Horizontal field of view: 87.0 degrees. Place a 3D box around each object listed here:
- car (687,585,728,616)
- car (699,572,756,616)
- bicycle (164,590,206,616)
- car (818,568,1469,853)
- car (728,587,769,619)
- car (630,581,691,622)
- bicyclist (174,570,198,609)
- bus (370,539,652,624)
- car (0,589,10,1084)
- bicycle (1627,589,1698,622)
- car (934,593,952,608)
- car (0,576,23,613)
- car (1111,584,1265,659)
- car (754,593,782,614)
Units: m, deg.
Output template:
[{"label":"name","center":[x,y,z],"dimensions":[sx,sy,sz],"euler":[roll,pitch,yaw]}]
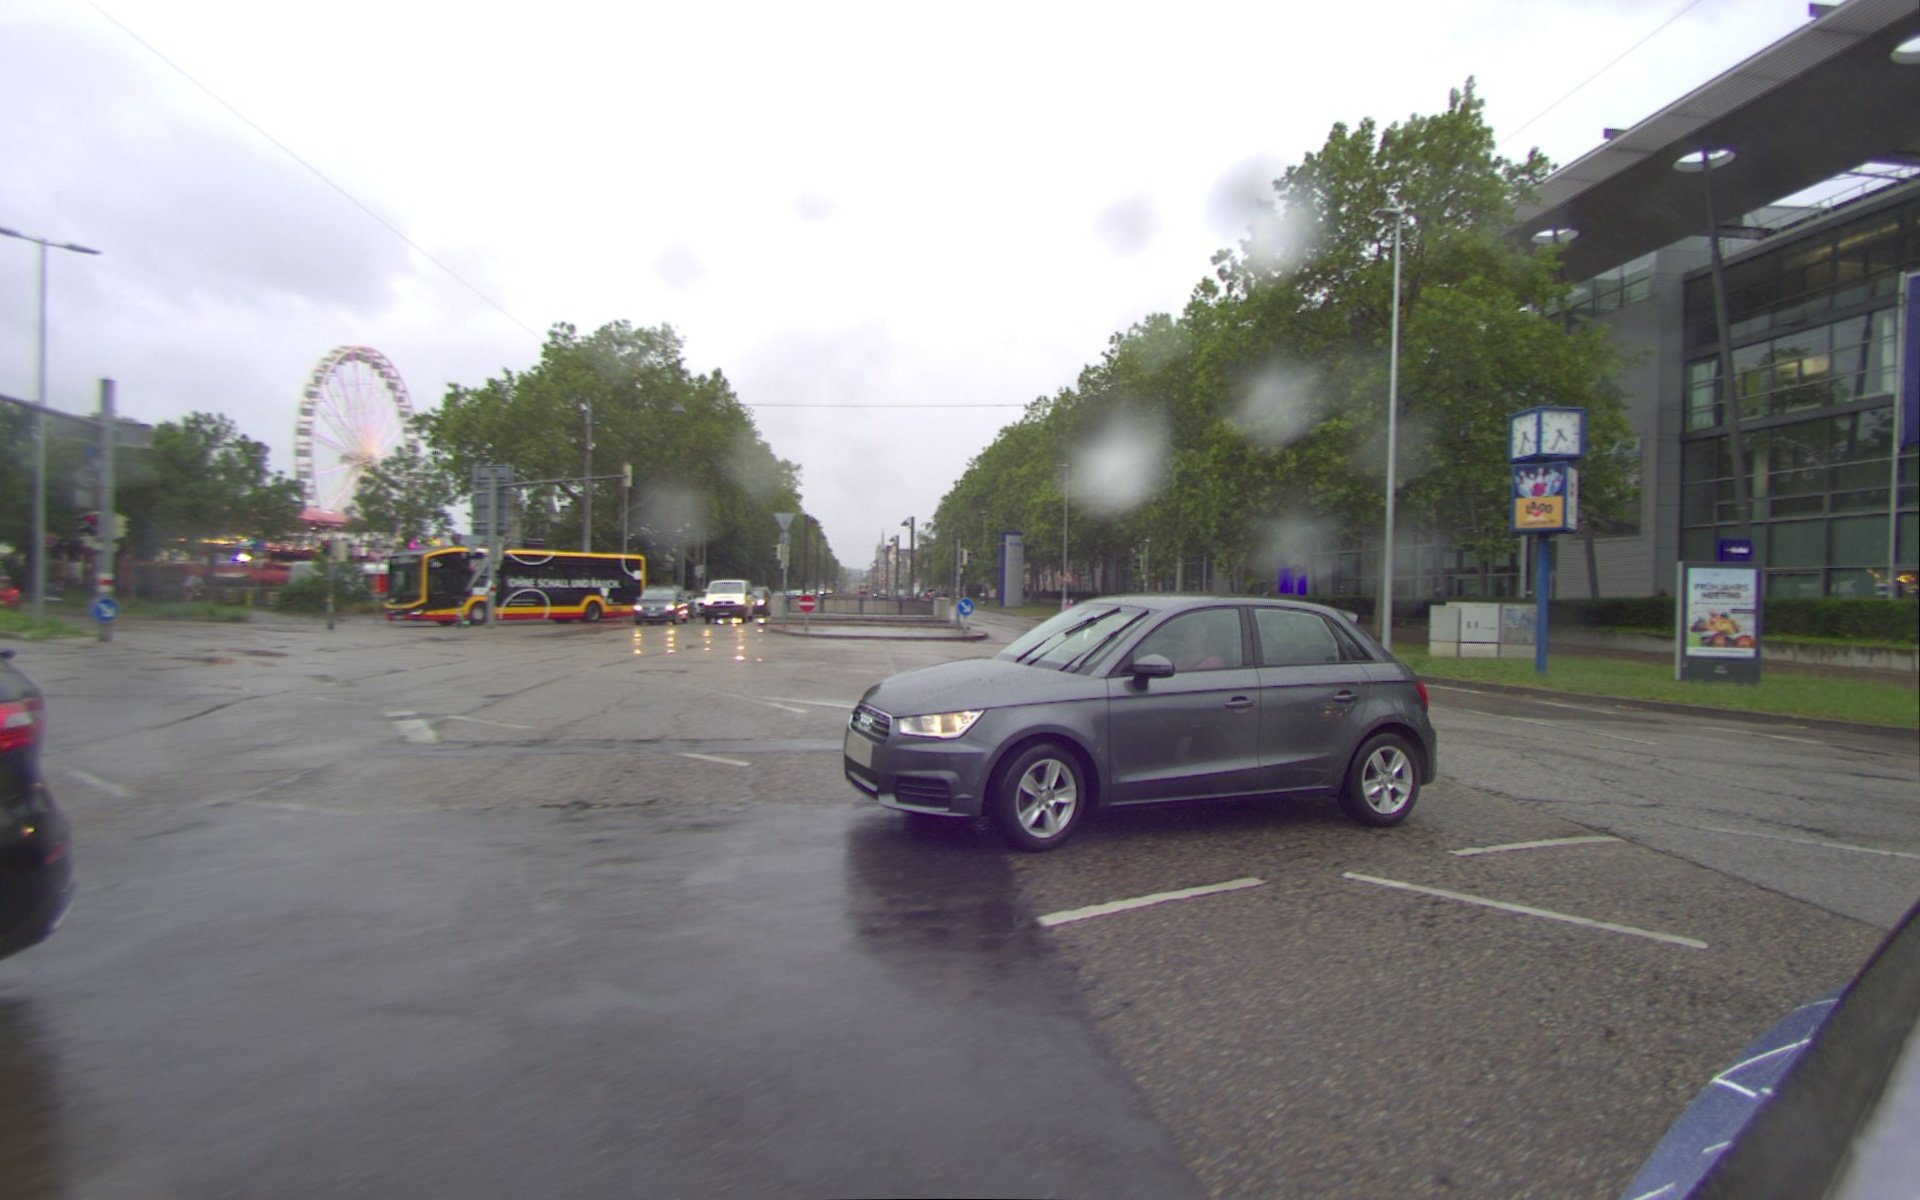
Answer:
[{"label":"car","center":[-15.090,-0.008,60.703],"dimensions":[1.853,1.776,4.005],"euler":[1,1,-6]},{"label":"car","center":[-10.630,-0.304,46.623],"dimensions":[2.036,1.872,4.753],"euler":[1,1,-7]},{"label":"bicycle","center":[-37.868,0.150,49.432],"dimensions":[2.241,1.179,0.813],"euler":[2,1,30]},{"label":"car","center":[1.118,0.605,6.532],"dimensions":[3.674,1.416,1.846],"euler":[2,-1,-21]},{"label":"car","center":[-12.254,0.137,58.765],"dimensions":[2.035,1.756,4.754],"euler":[1,1,-9]},{"label":"car","center":[-13.127,0.020,44.605],"dimensions":[1.894,1.671,4.348],"euler":[1,1,-7]},{"label":"bicyclist","center":[-37.773,-0.511,49.387],"dimensions":[0.617,1.905,0.762],"euler":[1,1,30]},{"label":"bus","center":[-19.586,-0.801,45.542],"dimensions":[3.245,3.309,12.166],"euler":[1,1,28]},{"label":"car","center":[-4.668,0.584,1.962],"dimensions":[1.870,1.542,4.024],"euler":[2,3,43]},{"label":"bicycle","center":[30.504,0.231,43.901],"dimensions":[3.623,1.349,1.193],"euler":[1,1,-32]},{"label":"car","center":[-1.885,0.056,111.133],"dimensions":[1.806,1.571,4.004],"euler":[1,1,-4]},{"label":"car","center":[-40.767,-0.263,42.054],"dimensions":[3.590,1.510,1.666],"euler":[2,0,30]},{"label":"car","center":[5.434,0.456,24.700],"dimensions":[1.866,1.652,4.179],"euler":[1,1,-16]},{"label":"car","center":[-15.562,0.261,82.164],"dimensions":[1.959,1.558,4.006],"euler":[1,1,-7]}]
